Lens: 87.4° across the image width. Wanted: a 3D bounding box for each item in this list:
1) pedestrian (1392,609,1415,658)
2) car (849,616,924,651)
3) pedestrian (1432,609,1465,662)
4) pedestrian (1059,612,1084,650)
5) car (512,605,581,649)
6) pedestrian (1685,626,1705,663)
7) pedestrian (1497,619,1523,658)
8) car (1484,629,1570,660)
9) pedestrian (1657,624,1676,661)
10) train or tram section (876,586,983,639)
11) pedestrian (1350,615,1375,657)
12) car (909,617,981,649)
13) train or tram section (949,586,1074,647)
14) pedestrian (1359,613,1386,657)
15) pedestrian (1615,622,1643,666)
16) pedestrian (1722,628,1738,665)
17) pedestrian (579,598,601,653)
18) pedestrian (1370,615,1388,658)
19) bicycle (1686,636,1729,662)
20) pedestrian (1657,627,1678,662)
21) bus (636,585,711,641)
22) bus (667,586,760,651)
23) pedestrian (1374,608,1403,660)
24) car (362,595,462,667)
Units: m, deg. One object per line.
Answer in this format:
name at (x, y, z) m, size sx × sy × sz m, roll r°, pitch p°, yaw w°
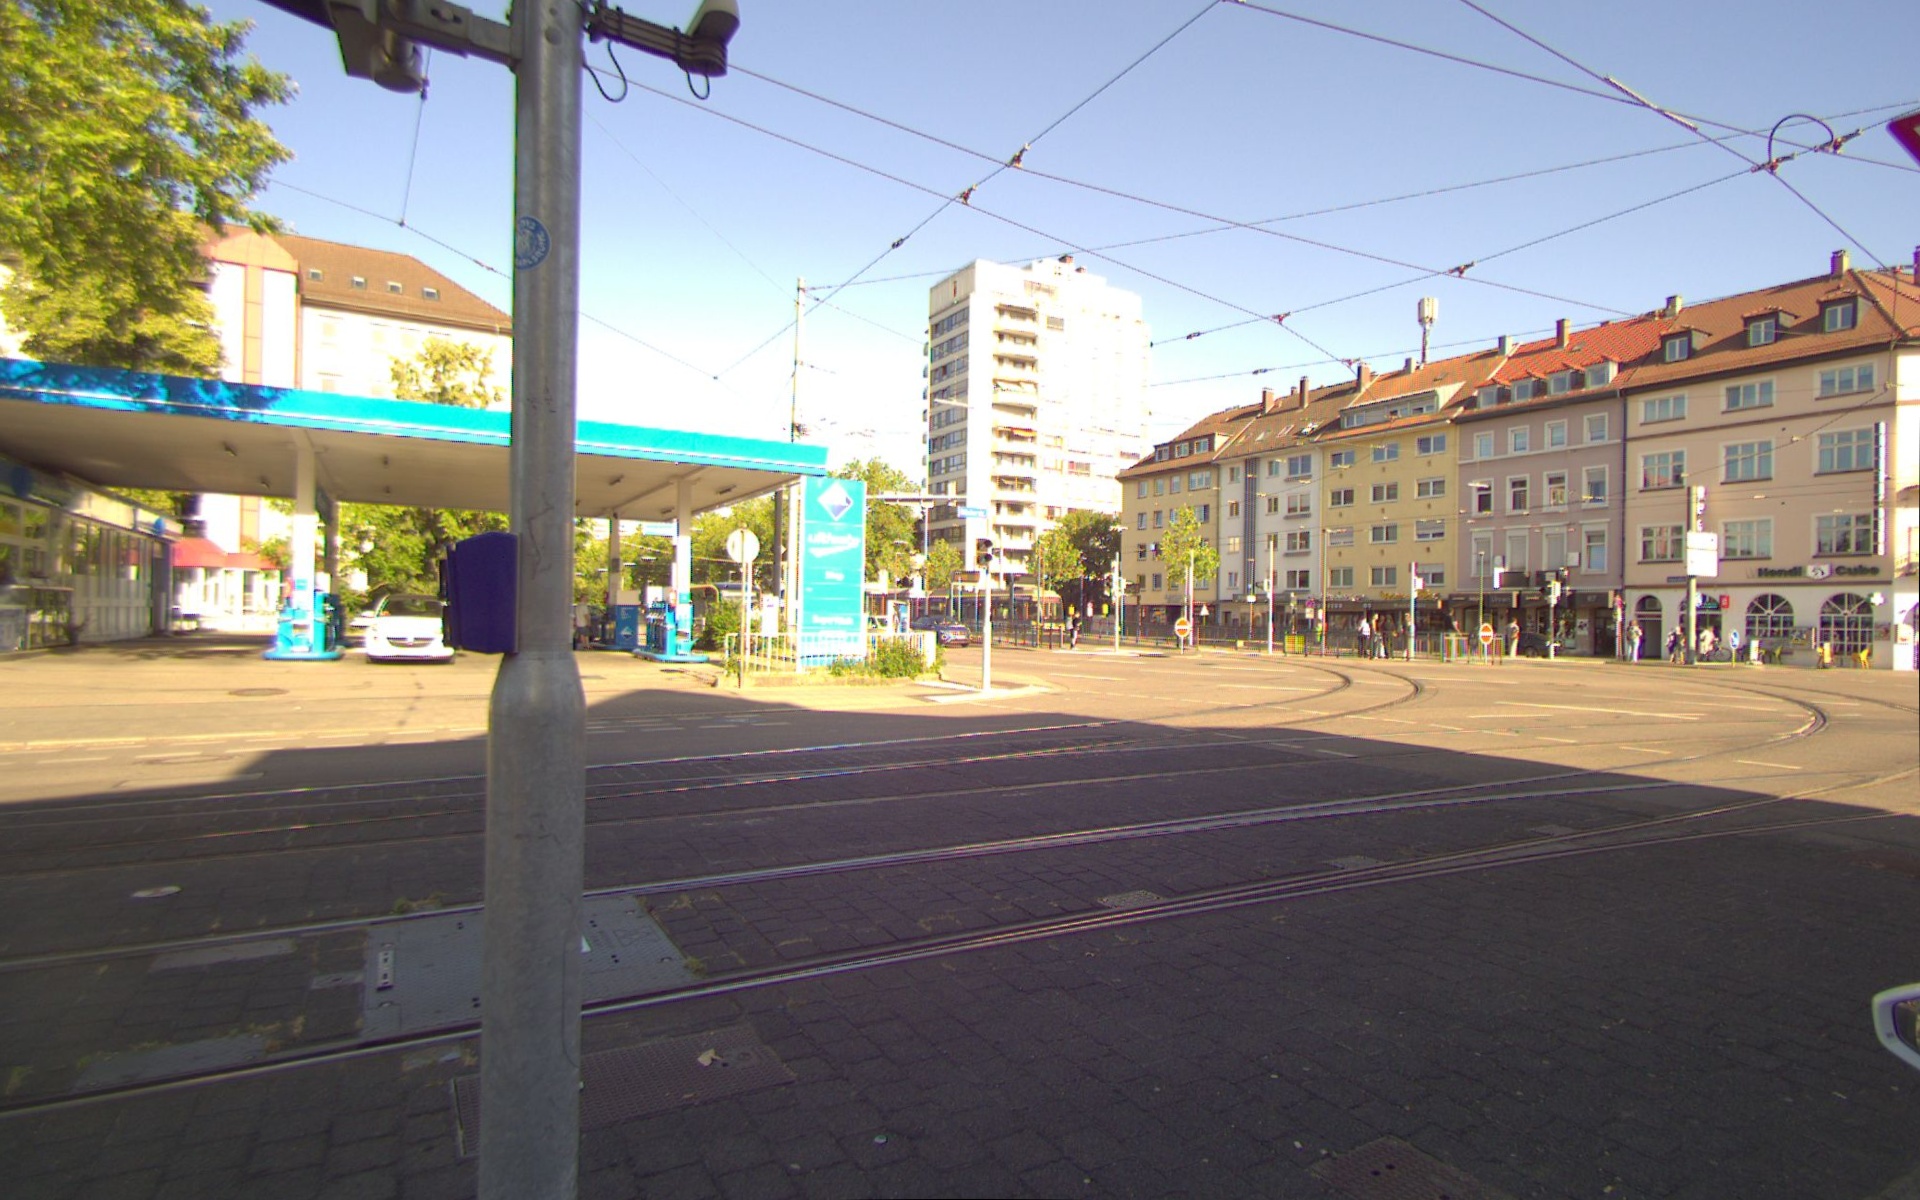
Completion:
pedestrian at (16.459, 1.252, 37.304) m, size 0.553 × 1.810 × 0.557 m, roll 1°, pitch -1°, yaw -30°
car at (-3.451, 1.546, 46.758) m, size 1.724 × 1.518 × 3.929 m, roll 1°, pitch -1°, yaw -35°
pedestrian at (17.500, 1.256, 35.991) m, size 0.714 × 1.853 × 0.763 m, roll 1°, pitch -1°, yaw -30°
pedestrian at (4.839, 1.331, 43.605) m, size 0.788 × 1.632 × 0.766 m, roll 1°, pitch -1°, yaw -37°
car at (-13.581, 0.853, 32.878) m, size 1.697 × 1.360 × 3.970 m, roll 1°, pitch -1°, yaw -28°
pedestrian at (34.484, 2.069, 47.141) m, size 0.737 × 1.704 × 0.621 m, roll 1°, pitch -1°, yaw -41°
pedestrian at (24.178, 1.682, 44.150) m, size 0.621 × 1.704 × 0.763 m, roll 1°, pitch -1°, yaw -30°
car at (30.885, 2.406, 54.852) m, size 1.795 × 1.511 × 3.715 m, roll 2°, pitch 0°, yaw -27°
pedestrian at (33.899, 2.027, 48.176) m, size 0.731 × 1.704 × 0.626 m, roll 0°, pitch -1°, yaw 35°
train or tram section at (-2.747, 0.882, 82.298) m, size 2.926 × 3.986 × 12.850 m, roll 2°, pitch 0°, yaw -30°
pedestrian at (15.731, 1.410, 39.238) m, size 0.553 × 1.602 × 0.695 m, roll 1°, pitch -1°, yaw -30°
car at (-0.777, 1.530, 47.869) m, size 1.697 × 1.439 × 4.149 m, roll 1°, pitch -1°, yaw -28°
train or tram section at (3.411, 1.055, 71.740) m, size 2.926 × 3.986 × 11.589 m, roll 2°, pitch 0°, yaw -30°
pedestrian at (15.622, 1.323, 38.015) m, size 0.565 × 1.657 × 0.737 m, roll 1°, pitch -1°, yaw -30°
pedestrian at (26.503, 1.733, 39.781) m, size 0.621 × 1.704 × 0.737 m, roll 1°, pitch -1°, yaw -30°
pedestrian at (26.931, 1.633, 35.133) m, size 0.447 × 1.270 × 0.361 m, roll 1°, pitch -1°, yaw -41°
pedestrian at (-11.818, 0.806, 32.091) m, size 0.579 × 1.715 × 0.756 m, roll 1°, pitch -1°, yaw -25°
pedestrian at (15.573, 1.344, 37.312) m, size 0.447 × 1.571 × 0.425 m, roll 1°, pitch -1°, yaw -30°
bicycle at (37.814, 2.469, 50.826) m, size 1.693 × 1.293 × 0.385 m, roll 0°, pitch -1°, yaw 44°
pedestrian at (35.444, 2.207, 50.313) m, size 0.623 × 1.704 × 0.734 m, roll 1°, pitch -1°, yaw -41°
bus at (-19.263, 0.786, 67.144) m, size 2.755 × 3.504 × 8.571 m, roll 0°, pitch 1°, yaw -30°
bus at (-14.725, 0.951, 59.402) m, size 2.748 × 3.504 × 9.364 m, roll 0°, pitch 1°, yaw -31°
pedestrian at (15.664, 1.225, 36.750) m, size 0.769 × 1.874 × 0.625 m, roll 1°, pitch -1°, yaw -30°
car at (-12.361, 0.668, 22.557) m, size 1.793 × 1.461 × 3.966 m, roll 1°, pitch -1°, yaw -31°
